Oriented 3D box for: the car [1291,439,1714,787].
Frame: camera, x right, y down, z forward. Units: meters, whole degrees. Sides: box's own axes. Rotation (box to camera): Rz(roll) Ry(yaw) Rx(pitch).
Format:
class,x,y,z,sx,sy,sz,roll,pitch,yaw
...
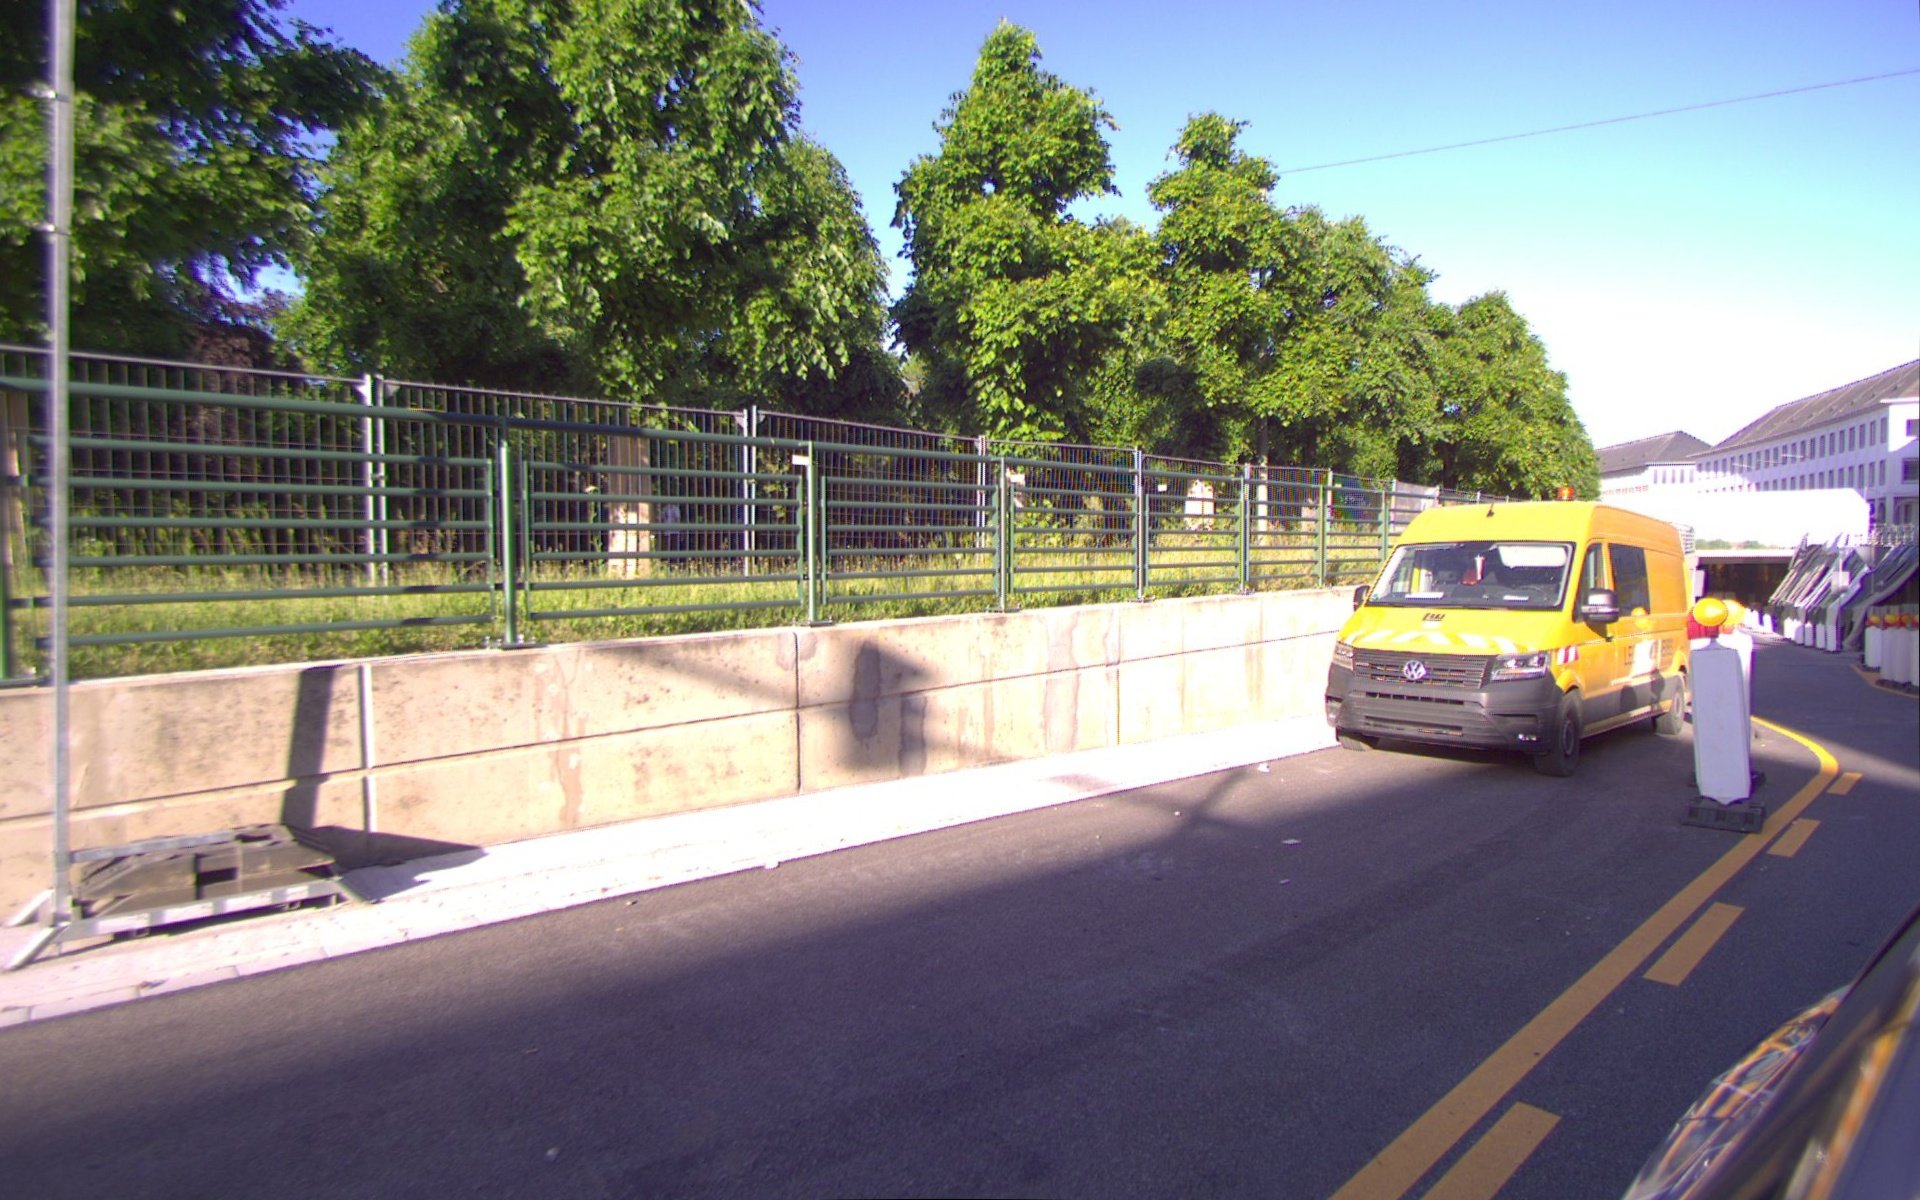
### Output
class,x,y,z,sx,sy,sz,roll,pitch,yaw
car,6.205,0.074,10.927,2.113,2.657,6.873,1,1,45
